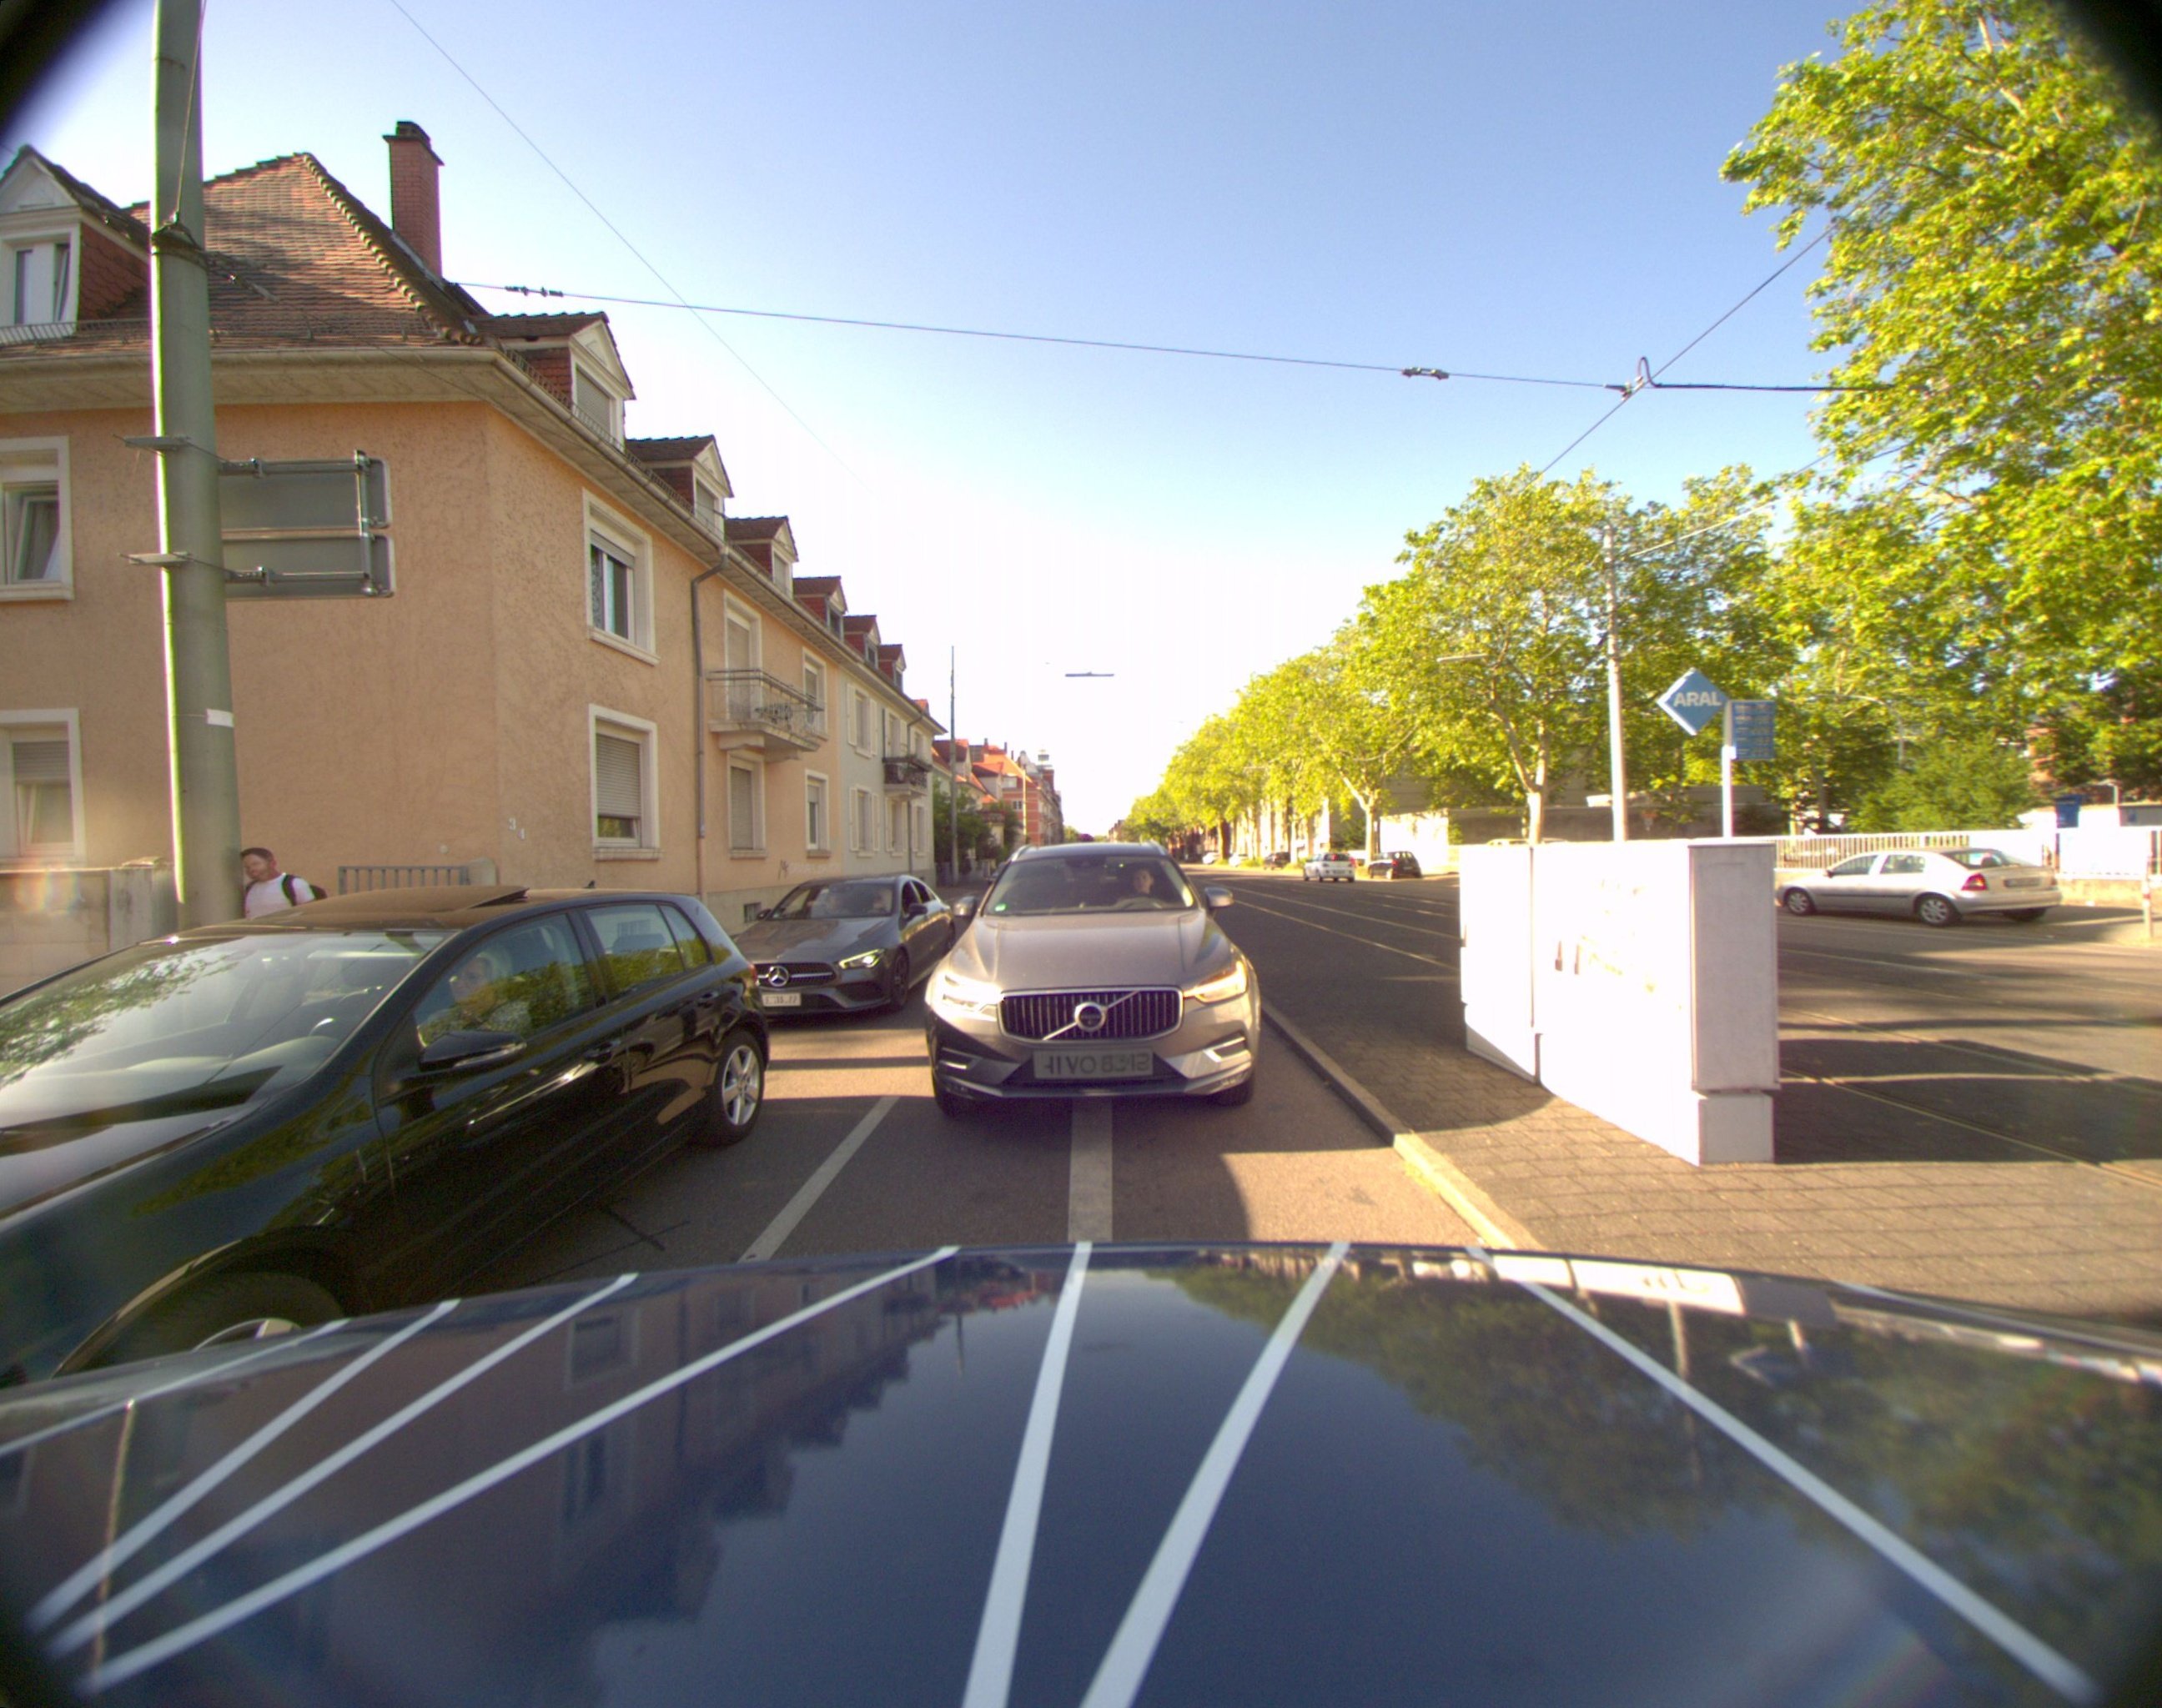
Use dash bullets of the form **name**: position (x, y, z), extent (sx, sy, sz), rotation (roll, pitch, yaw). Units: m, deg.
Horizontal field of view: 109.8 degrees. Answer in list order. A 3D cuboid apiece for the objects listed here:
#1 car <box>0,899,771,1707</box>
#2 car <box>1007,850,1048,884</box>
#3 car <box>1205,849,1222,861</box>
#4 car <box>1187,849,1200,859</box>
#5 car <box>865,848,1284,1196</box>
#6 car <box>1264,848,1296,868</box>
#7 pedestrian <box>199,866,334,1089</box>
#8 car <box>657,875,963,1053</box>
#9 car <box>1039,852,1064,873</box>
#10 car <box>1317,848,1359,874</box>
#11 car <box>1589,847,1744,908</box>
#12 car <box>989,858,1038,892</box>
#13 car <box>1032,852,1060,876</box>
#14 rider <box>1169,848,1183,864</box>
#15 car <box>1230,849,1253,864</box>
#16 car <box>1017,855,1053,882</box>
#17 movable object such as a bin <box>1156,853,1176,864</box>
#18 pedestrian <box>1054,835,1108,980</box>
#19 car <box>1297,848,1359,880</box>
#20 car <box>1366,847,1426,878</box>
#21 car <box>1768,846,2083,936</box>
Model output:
- **car**: position (-2.801, 1.043, 2.641), extent (1.717, 1.430, 3.990), rotation (-2, 1, 1)
- **car**: position (-2.907, 0.689, 42.393), extent (1.825, 1.701, 4.334), rotation (-2, 1, 1)
- **car**: position (17.576, 0.100, 100.679), extent (1.661, 1.452, 3.730), rotation (-5, 1, 3)
- **car**: position (18.556, 0.057, 125.555), extent (1.661, 1.452, 3.730), rotation (-5, 1, 3)
- **car**: position (0.121, 0.797, 5.777), extent (1.924, 1.579, 4.387), rotation (-2, 1, 4)
- **car**: position (17.244, 0.319, 65.937), extent (1.754, 1.582, 3.878), rotation (-5, 1, 3)
- **pedestrian**: position (-6.509, 0.925, 6.072), extent (0.758, 1.596, 0.612), rotation (5, 1, 37)
- **car**: position (-2.720, 1.026, 8.877), extent (1.825, 1.422, 4.491), rotation (-2, -1, 1)
- **car**: position (-2.594, 0.695, 67.278), extent (1.825, 1.701, 4.334), rotation (-2, 1, 1)
- **car**: position (16.896, 0.442, 50.070), extent (1.661, 1.486, 3.377), rotation (-5, 1, 3)
- **car**: position (16.365, 0.597, 21.469), extent (1.619, 1.436, 3.606), rotation (-5, 1, 3)
- **car**: position (-3.230, 0.963, 37.138), extent (1.825, 1.422, 4.334), rotation (-2, 1, 1)
- **car**: position (-2.781, 0.773, 60.912), extent (1.825, 1.701, 4.334), rotation (-2, 1, 1)
- **rider**: position (9.984, 0.218, 79.841), extent (0.727, 1.639, 1.103), rotation (-3, 1, -41)
- **car**: position (17.621, 0.244, 83.465), extent (1.754, 1.532, 3.878), rotation (-5, 1, 3)
- **car**: position (-2.798, 0.868, 47.065), extent (1.825, 1.424, 4.334), rotation (-2, 1, 1)
- **movable object such as a bin**: position (9.037, 0.492, 80.979), extent (1.181, 1.097, 1.830), rotation (-3, 1, -41)
- **pedestrian**: position (0.003, 0.676, 9.958), extent (0.609, 1.832, 0.599), rotation (-2, 1, 1)
- **car**: position (12.023, 0.469, 37.221), extent (1.742, 1.427, 3.935), rotation (2, 1, 1)
- **car**: position (16.837, 0.445, 40.826), extent (1.723, 1.436, 3.769), rotation (-5, 1, 3)
- **car**: position (16.199, 0.627, 14.951), extent (1.687, 1.358, 3.989), rotation (-6, 0, 1)
